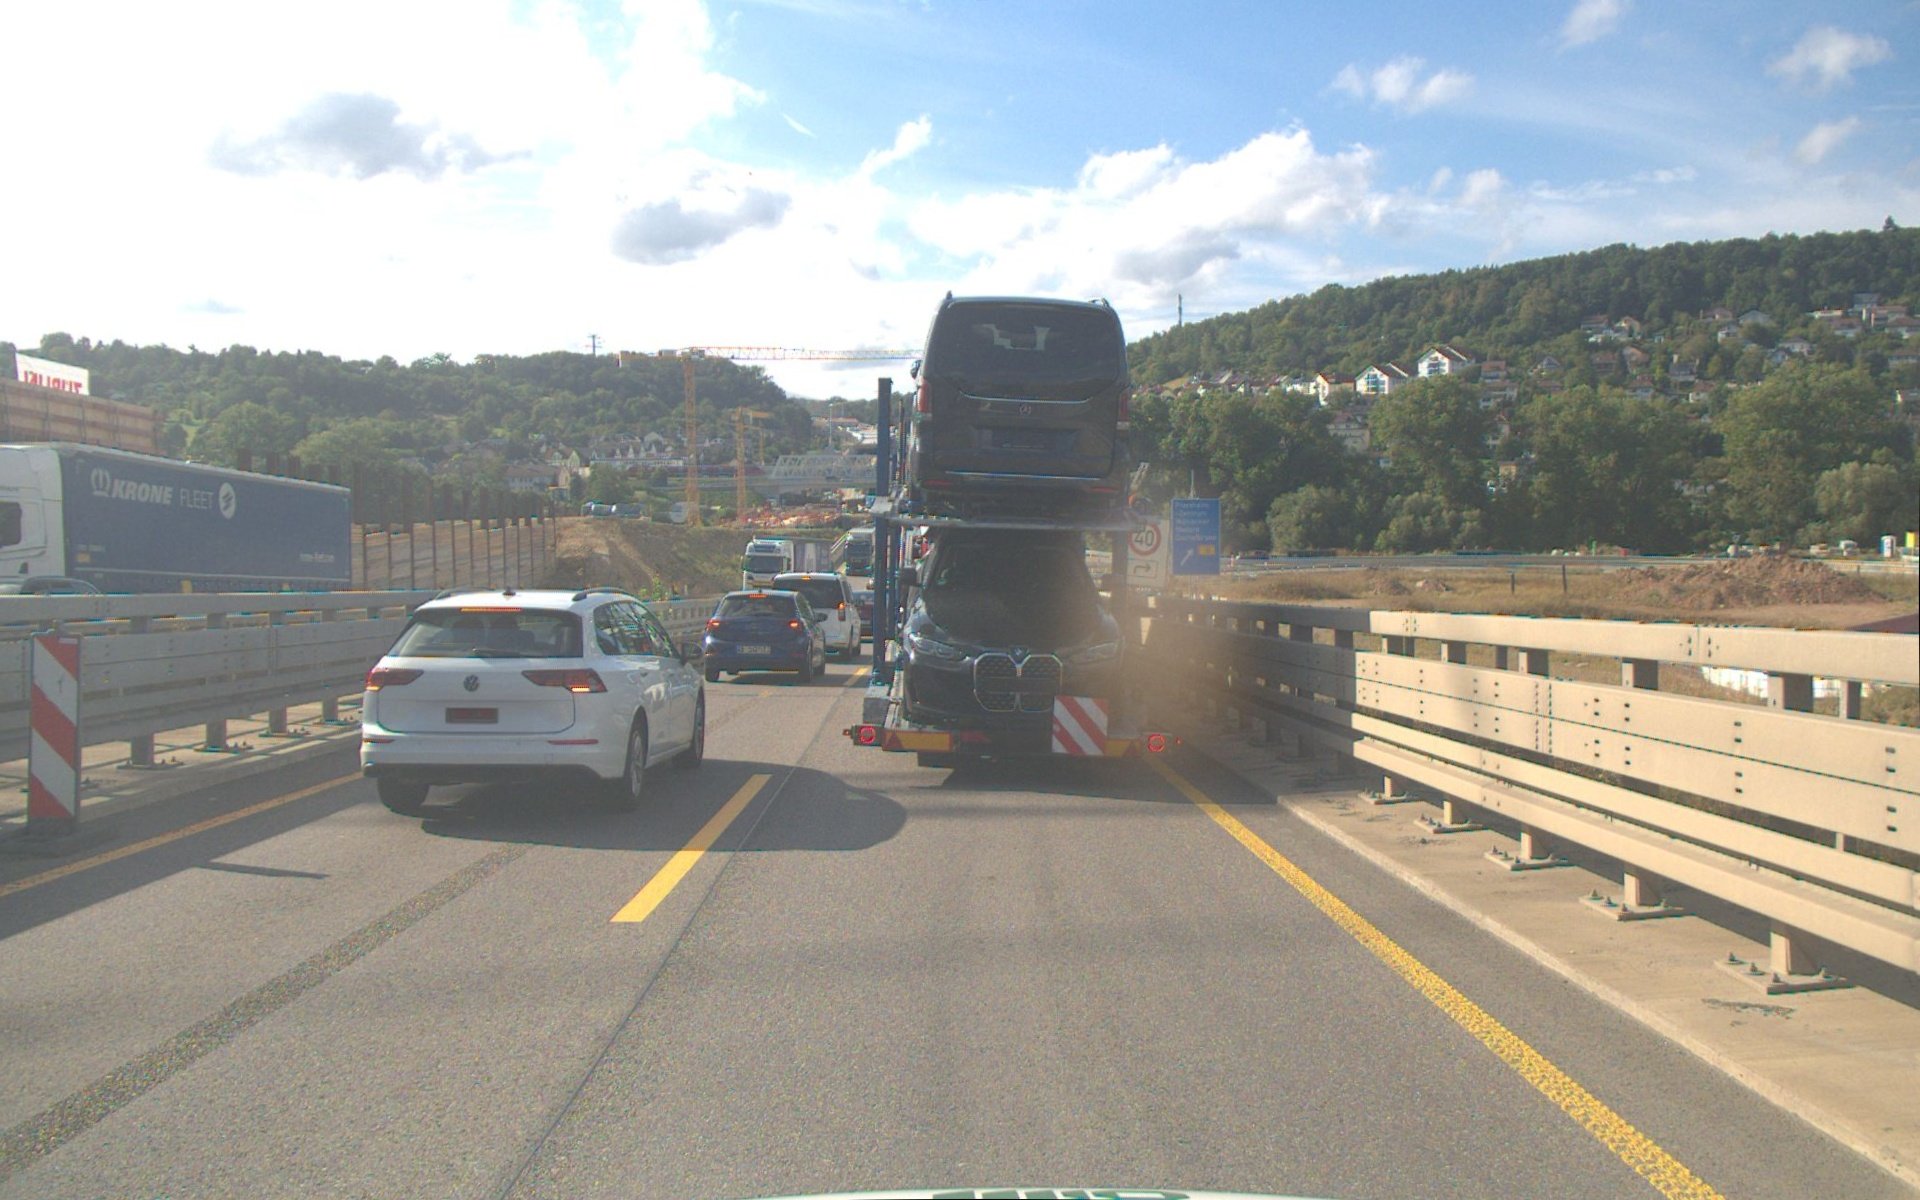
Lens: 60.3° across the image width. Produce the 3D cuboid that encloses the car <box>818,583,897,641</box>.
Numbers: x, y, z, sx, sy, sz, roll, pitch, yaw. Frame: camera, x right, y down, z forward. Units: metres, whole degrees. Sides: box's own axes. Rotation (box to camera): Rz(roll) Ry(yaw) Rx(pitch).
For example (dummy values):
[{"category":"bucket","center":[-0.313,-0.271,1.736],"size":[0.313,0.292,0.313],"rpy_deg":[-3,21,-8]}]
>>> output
[{"category":"car","center":[-2.949,0.357,48.327],"size":[1.952,1.583,4.401],"rpy_deg":[1,0,1]}]

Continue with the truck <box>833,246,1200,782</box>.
[{"category":"truck","center":[0.356,-0.620,22.137],"size":[2.697,4.024,18.886],"rpy_deg":[2,0,0]}]

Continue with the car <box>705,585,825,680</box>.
[{"category":"car","center":[-3.153,0.513,27.361],"size":[1.687,1.447,3.997],"rpy_deg":[0,-1,-3]}]

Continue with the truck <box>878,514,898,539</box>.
[{"category":"truck","center":[-10.844,-11.179,250.615],"size":[2.645,3.369,7.536],"rpy_deg":[1,0,0]}]

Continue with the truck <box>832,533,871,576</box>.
[{"category":"truck","center":[-10.413,-4.344,158.434],"size":[2.729,3.854,5.998],"rpy_deg":[1,0,-13]}]

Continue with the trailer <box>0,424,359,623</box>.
[{"category":"trailer","center":[-17.831,-1.425,38.040],"size":[2.803,3.731,13.530],"rpy_deg":[1,0,1]}]

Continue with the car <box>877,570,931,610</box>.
[{"category":"car","center":[-2.231,-0.384,67.340],"size":[1.952,1.579,4.000],"rpy_deg":[1,0,1]}]

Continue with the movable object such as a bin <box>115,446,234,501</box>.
[{"category":"movable object such as a bin","center":[-53.230,-8.552,112.232],"size":[5.623,3.328,4.514],"rpy_deg":[1,0,11]}]

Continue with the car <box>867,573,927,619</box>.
[{"category":"car","center":[-2.259,-0.126,60.403],"size":[1.952,1.579,4.000],"rpy_deg":[1,0,1]}]

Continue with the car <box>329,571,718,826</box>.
[{"category":"car","center":[-2.976,0.617,12.286],"size":[1.734,1.517,4.515],"rpy_deg":[-1,-1,-1]}]

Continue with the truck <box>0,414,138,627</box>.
[{"category":"truck","center":[-17.990,-1.392,30.811],"size":[2.783,3.692,4.811],"rpy_deg":[1,0,1]}]

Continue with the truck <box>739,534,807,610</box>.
[{"category":"truck","center":[-10.828,-1.575,96.346],"size":[2.654,4.210,5.974],"rpy_deg":[1,0,6]}]

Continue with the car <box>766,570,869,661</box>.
[{"category":"car","center":[-3.008,0.326,35.662],"size":[1.785,1.823,4.000],"rpy_deg":[1,0,1]}]
